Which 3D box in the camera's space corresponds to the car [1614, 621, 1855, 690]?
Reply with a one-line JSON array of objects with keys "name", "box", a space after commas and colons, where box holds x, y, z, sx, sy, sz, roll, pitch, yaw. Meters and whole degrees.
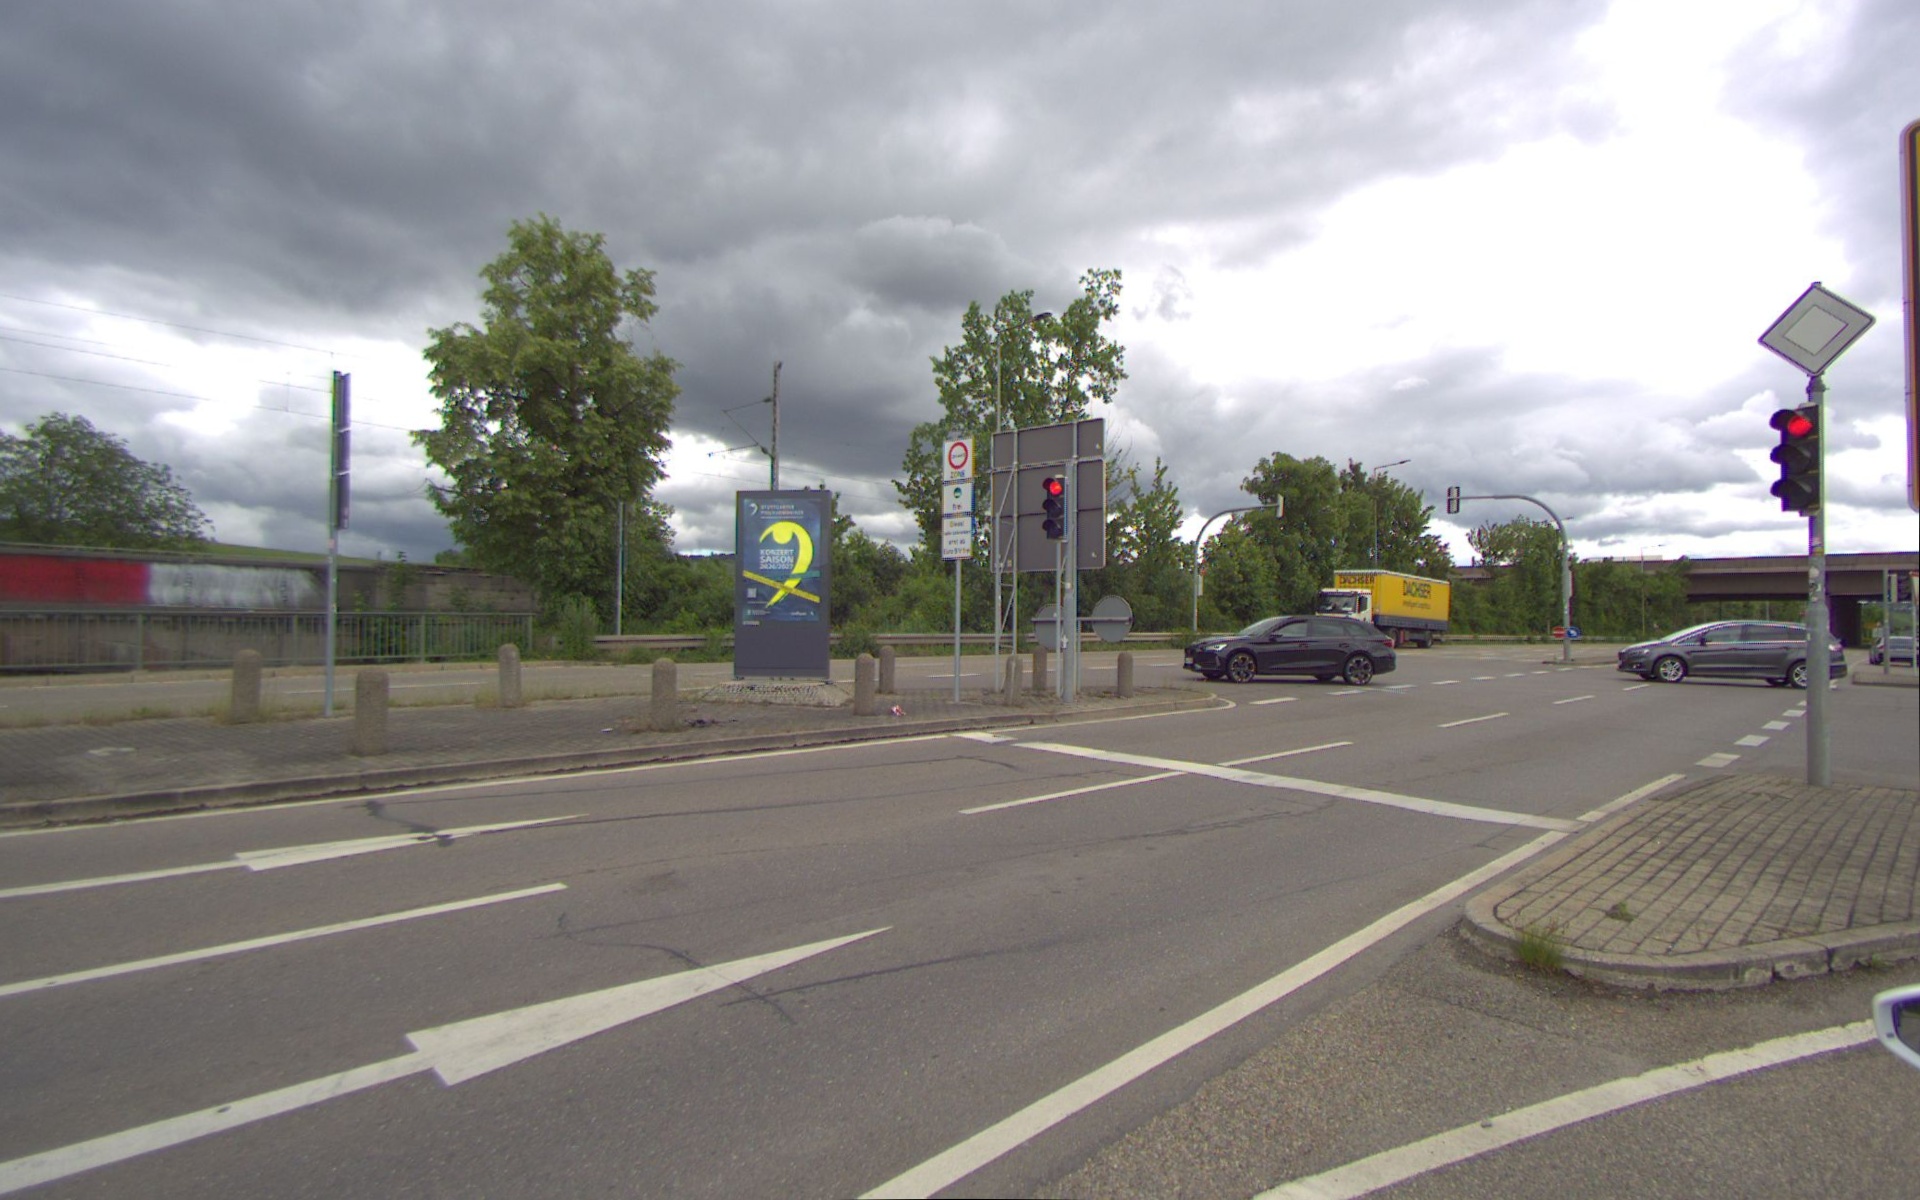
[{"name": "car", "box": [19.957, 1.379, 26.160, 4.603, 1.592, 1.955, 0, 0, 22]}]

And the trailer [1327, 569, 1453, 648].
[{"name": "trailer", "box": [24.960, 0.485, 57.823, 2.841, 4.139, 11.359, 3, 1, 43]}]

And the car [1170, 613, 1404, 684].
[{"name": "car", "box": [7.141, 1.030, 22.198, 4.532, 1.477, 1.954, 0, 0, -4]}]

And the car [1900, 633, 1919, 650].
[{"name": "car", "box": [93.355, 4.056, 98.225, 1.973, 1.483, 4.086, 1, -2, 44]}]

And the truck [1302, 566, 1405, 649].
[{"name": "truck", "box": [21.149, 0.396, 53.798, 2.841, 4.139, 6.449, 3, 1, 43]}]

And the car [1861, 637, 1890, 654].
[{"name": "car", "box": [91.133, 4.555, 99.966, 1.973, 1.461, 4.085, 1, -2, 45]}]

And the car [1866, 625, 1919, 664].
[{"name": "car", "box": [47.075, 2.178, 50.561, 1.886, 1.684, 4.724, 4, 2, 40]}]
